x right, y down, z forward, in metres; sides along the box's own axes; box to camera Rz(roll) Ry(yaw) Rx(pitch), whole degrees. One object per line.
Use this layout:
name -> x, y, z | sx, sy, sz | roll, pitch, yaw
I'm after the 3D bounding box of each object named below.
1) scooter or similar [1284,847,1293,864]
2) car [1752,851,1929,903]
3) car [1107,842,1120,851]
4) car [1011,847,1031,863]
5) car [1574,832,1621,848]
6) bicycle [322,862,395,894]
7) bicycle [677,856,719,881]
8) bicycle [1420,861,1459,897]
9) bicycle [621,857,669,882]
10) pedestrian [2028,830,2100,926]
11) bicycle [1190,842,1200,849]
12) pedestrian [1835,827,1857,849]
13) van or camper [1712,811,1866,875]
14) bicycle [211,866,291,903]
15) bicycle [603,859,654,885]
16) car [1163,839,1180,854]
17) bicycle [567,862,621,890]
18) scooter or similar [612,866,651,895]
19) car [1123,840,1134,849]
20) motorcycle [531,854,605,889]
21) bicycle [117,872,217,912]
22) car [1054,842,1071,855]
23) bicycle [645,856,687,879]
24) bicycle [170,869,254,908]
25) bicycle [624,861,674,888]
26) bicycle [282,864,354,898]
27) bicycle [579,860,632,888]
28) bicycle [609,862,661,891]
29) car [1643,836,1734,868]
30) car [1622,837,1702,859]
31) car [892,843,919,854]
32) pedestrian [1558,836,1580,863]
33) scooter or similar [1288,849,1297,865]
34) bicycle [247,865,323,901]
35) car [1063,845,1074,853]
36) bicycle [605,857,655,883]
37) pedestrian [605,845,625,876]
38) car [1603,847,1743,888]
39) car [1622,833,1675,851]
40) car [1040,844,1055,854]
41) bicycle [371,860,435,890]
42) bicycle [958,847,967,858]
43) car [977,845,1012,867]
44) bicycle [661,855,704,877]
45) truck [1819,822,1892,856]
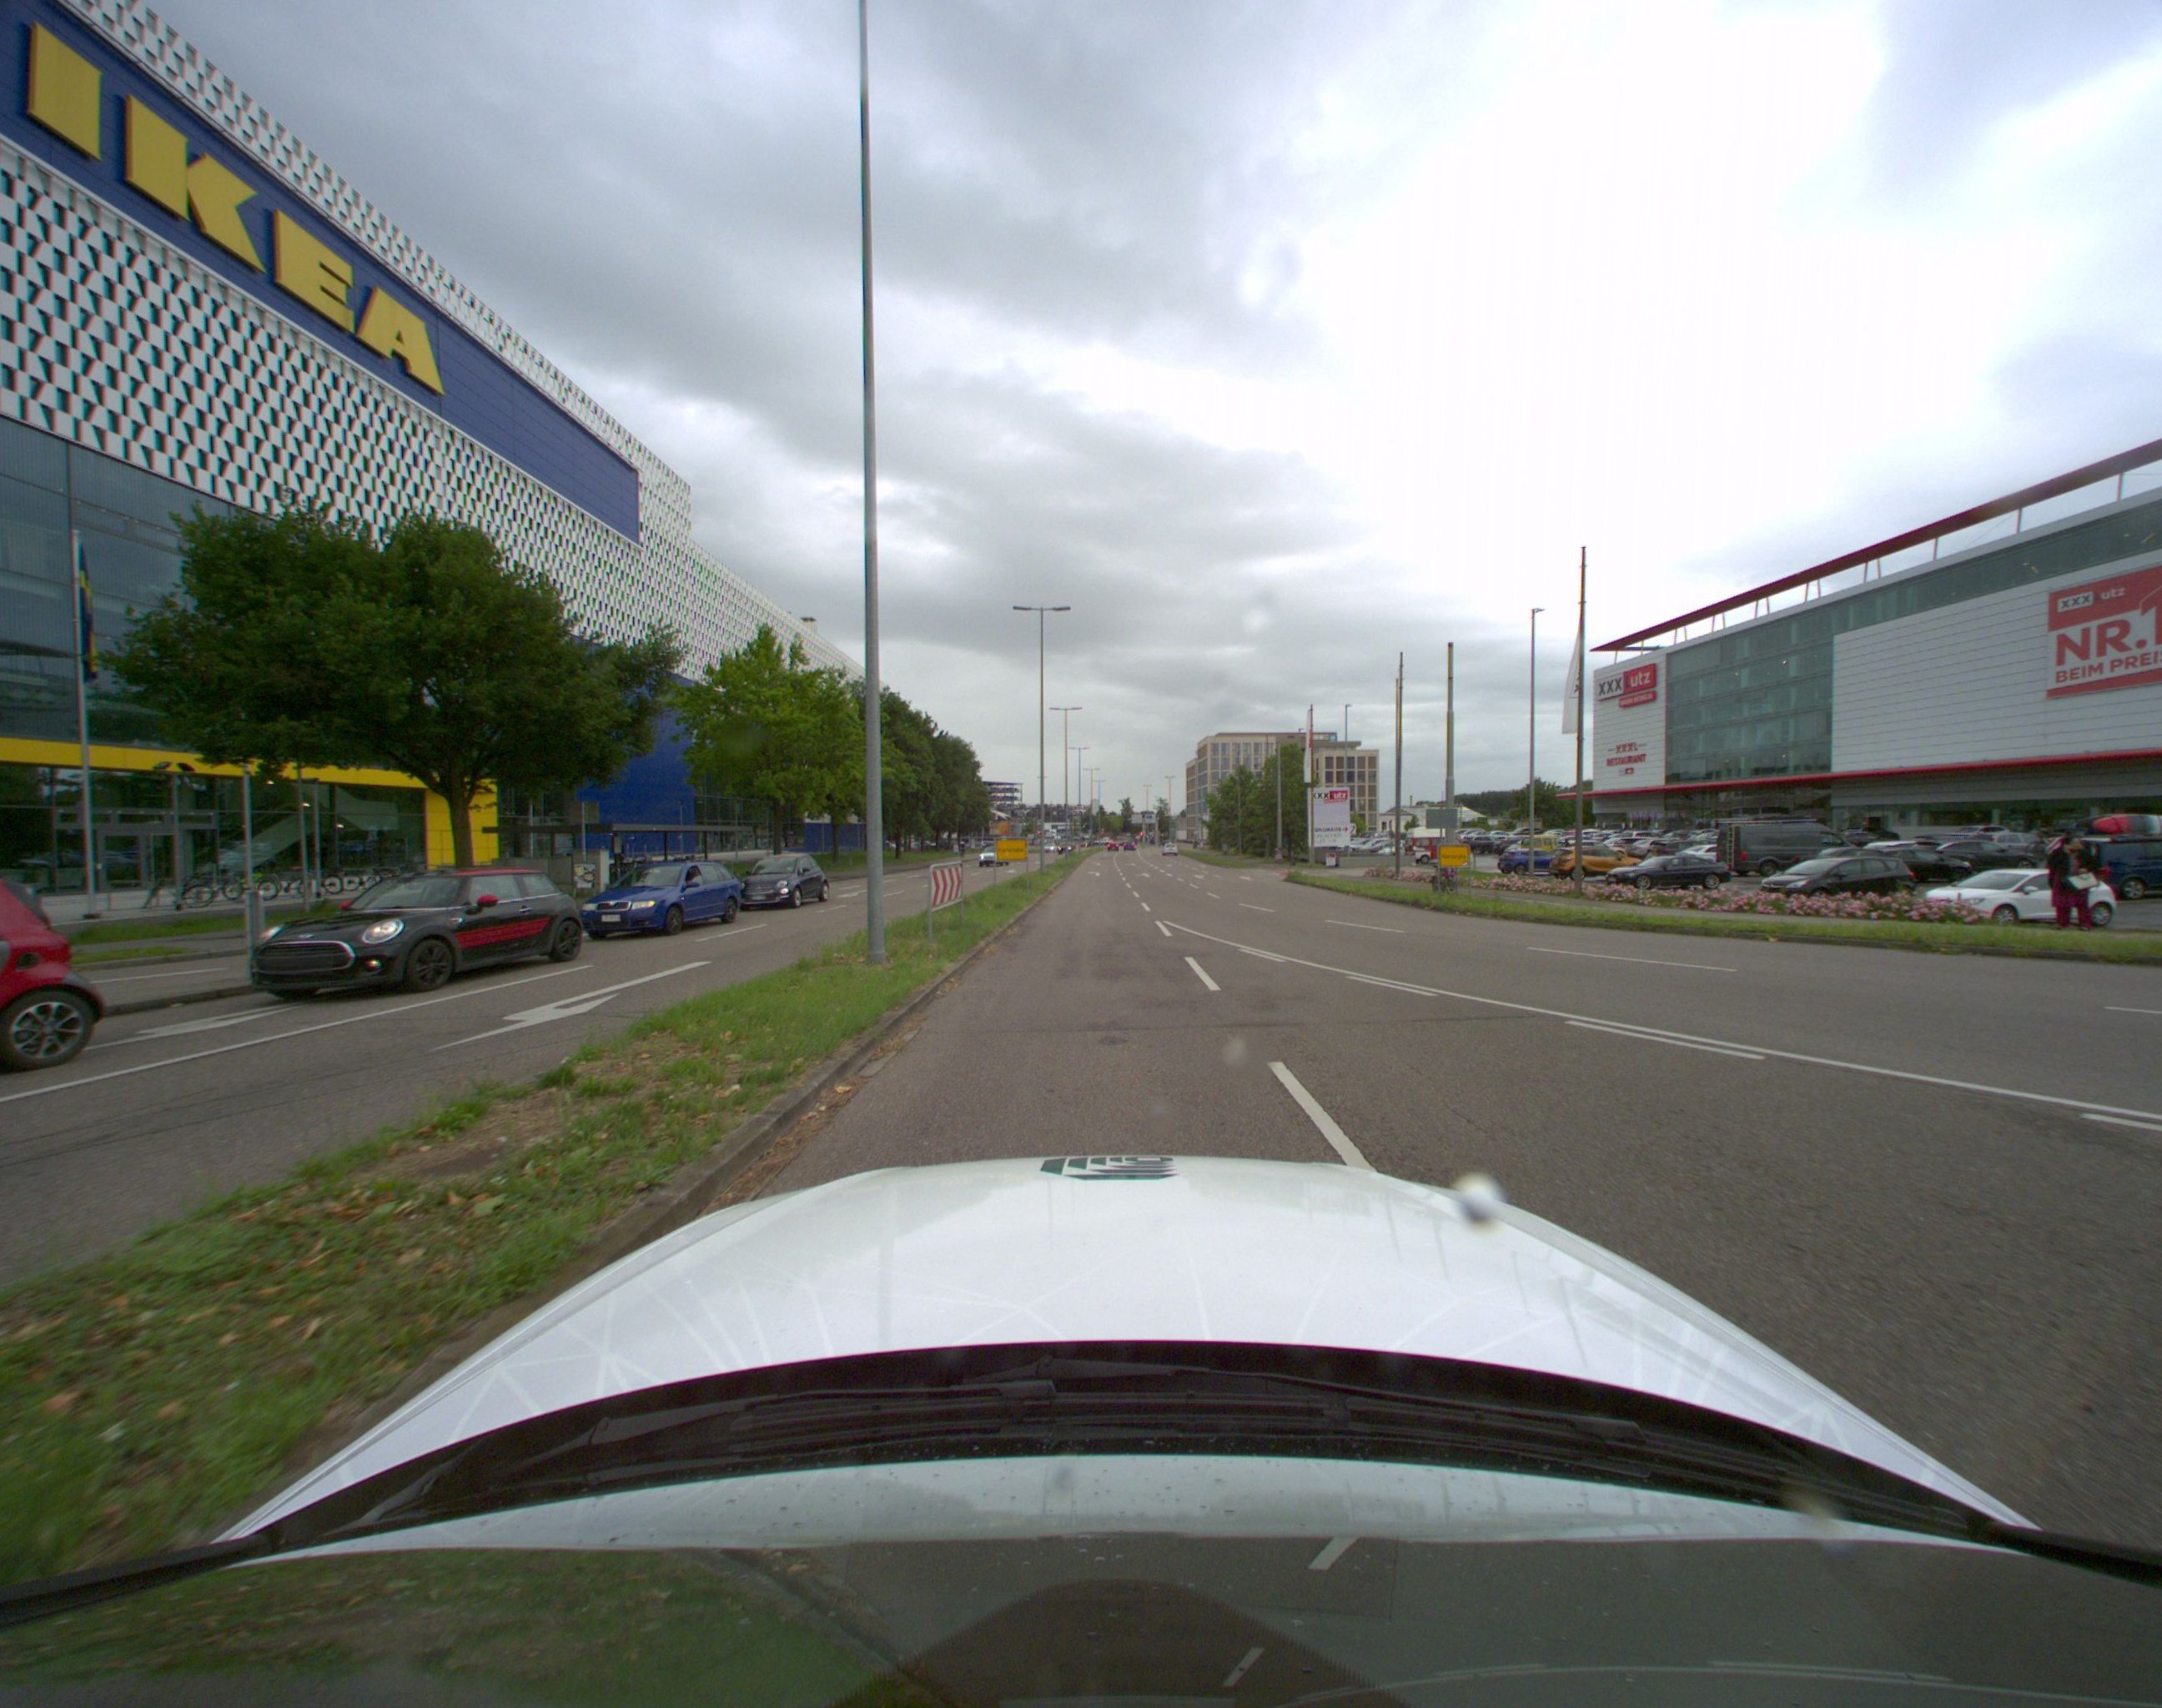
scooter or similar -> 17.676, 0.153, 69.429 | 0.646, 1.421, 1.824 | -1, 0, 11
car -> 24.706, 0.720, 26.594 | 4.076, 1.583, 1.771 | 0, 2, 2
car -> 5.144, -1.117, 127.973 | 1.980, 1.428, 4.242 | 0, 0, 1
car -> -6.092, 0.070, 83.371 | 1.879, 1.436, 4.426 | -3, 2, -4
car -> 51.364, -1.391, 80.968 | 3.550, 1.587, 1.743 | 0, 1, 6
bicycle -> -27.505, 0.912, 31.025 | 2.017, 1.156, 0.591 | 1, 1, -12
bicycle -> -19.588, 0.728, 41.653 | 2.000, 1.156, 0.596 | 2, 1, 16
bicycle -> 11.137, 0.764, 25.343 | 0.659, 1.048, 1.695 | 0, 0, 8
bicycle -> -21.455, 0.741, 40.100 | 2.008, 1.156, 0.594 | 2, 1, 1
pedestrian -> 16.981, 0.405, 14.074 | 0.787, 1.597, 0.709 | 0, -2, -37
bicycle -> 21.439, -1.533, 153.408 | 0.705, 1.295, 1.990 | -1, 2, -33
pedestrian -> 63.991, -1.347, 68.096 | 0.949, 1.869, 0.966 | -1, 3, -15
van or camper -> 33.950, -0.518, 39.197 | 5.347, 2.983, 1.997 | 0, 0, 10
bicycle -> -27.683, 1.007, 27.181 | 2.009, 1.156, 0.593 | 1, 1, -1
bicycle -> -20.942, 0.828, 37.684 | 2.008, 1.156, 0.594 | 2, 1, 1
car -> 11.310, -0.958, 102.123 | 1.985, 1.752, 4.185 | 0, 1, 4
bicycle -> -21.370, 0.947, 35.759 | 2.008, 1.156, 0.594 | 2, 1, 1
scooter or similar -> -18.458, 1.063, 33.451 | 0.419, 1.148, 1.357 | 2, 1, 33
car -> 8.058, -1.617, 139.341 | 1.827, 1.514, 4.004 | 0, 2, 2
motorcycle -> -21.481, 0.728, 34.154 | 2.493, 1.355, 0.797 | 1, 1, -11
bicycle -> -27.668, 1.153, 24.685 | 2.019, 1.156, 0.591 | 1, 1, -15
car -> -2.377, -0.729, 105.268 | 1.924, 1.486, 4.440 | -2, 1, 1
bicycle -> -21.092, 0.696, 41.440 | 1.803, 1.082, 0.594 | 2, 1, 1
bicycle -> -27.819, 1.093, 26.079 | 2.009, 1.156, 0.593 | 1, 1, -1
bicycle -> -19.285, 0.905, 36.331 | 1.887, 1.156, 0.594 | 2, 1, 1
bicycle -> -27.594, 0.974, 29.462 | 2.009, 1.156, 0.593 | 1, 1, -1
bicycle -> -21.280, 0.892, 36.466 | 2.008, 1.156, 0.594 | 2, 1, 1
bicycle -> -19.285, 0.964, 35.251 | 1.887, 1.156, 0.594 | 2, 1, 1
car -> 34.897, -0.146, 46.864 | 3.879, 1.653, 1.832 | -2, 2, 0
car -> 40.052, -0.442, 56.234 | 4.221, 1.468, 1.741 | 0, 3, 3
car -> -36.022, -1.040, 167.084 | 5.118, 1.963, 1.880 | -2, 6, -2
pedestrian -> 32.545, -0.297, 54.315 | 0.936, 1.719, 0.886 | 0, 3, 0
scooter or similar -> 15.832, 0.220, 61.020 | 0.369, 1.190, 1.249 | -1, 2, 2
bicycle -> -27.641, 0.998, 28.287 | 2.009, 1.156, 0.593 | 1, 1, -1
car -> -2.394, -0.997, 154.379 | 1.765, 1.452, 4.408 | -2, 1, 2
bicycle -> -21.476, 0.770, 38.798 | 2.008, 1.156, 0.594 | 2, 1, 1
pedestrian -> -26.537, 0.359, 46.395 | 0.674, 1.745, 0.808 | 0, 1, 1
car -> 24.677, 0.559, 34.079 | 4.507, 1.582, 1.772 | 0, 3, 3
car -> 51.201, -1.072, 73.521 | 3.551, 1.587, 1.742 | 0, 1, 6
car -> -5.127, -0.763, 124.564 | 1.859, 1.454, 4.170 | -2, 0, 2
bicycle -> -27.563, 0.858, 33.139 | 2.012, 1.156, 0.593 | 1, 1, -5
bicycle -> -13.386, -0.197, 92.378 | 0.640, 1.251, 2.057 | 1, 1, 1
car -> -6.553, 0.144, 62.161 | 1.923, 1.519, 4.185 | -3, 0, 2
bicycle -> -21.336, 0.644, 43.654 | 2.007, 1.122, 0.594 | 2, 1, 3
truck -> 55.353, -1.043, 58.263 | 3.557, 2.386, 1.740 | 0, 1, 0
